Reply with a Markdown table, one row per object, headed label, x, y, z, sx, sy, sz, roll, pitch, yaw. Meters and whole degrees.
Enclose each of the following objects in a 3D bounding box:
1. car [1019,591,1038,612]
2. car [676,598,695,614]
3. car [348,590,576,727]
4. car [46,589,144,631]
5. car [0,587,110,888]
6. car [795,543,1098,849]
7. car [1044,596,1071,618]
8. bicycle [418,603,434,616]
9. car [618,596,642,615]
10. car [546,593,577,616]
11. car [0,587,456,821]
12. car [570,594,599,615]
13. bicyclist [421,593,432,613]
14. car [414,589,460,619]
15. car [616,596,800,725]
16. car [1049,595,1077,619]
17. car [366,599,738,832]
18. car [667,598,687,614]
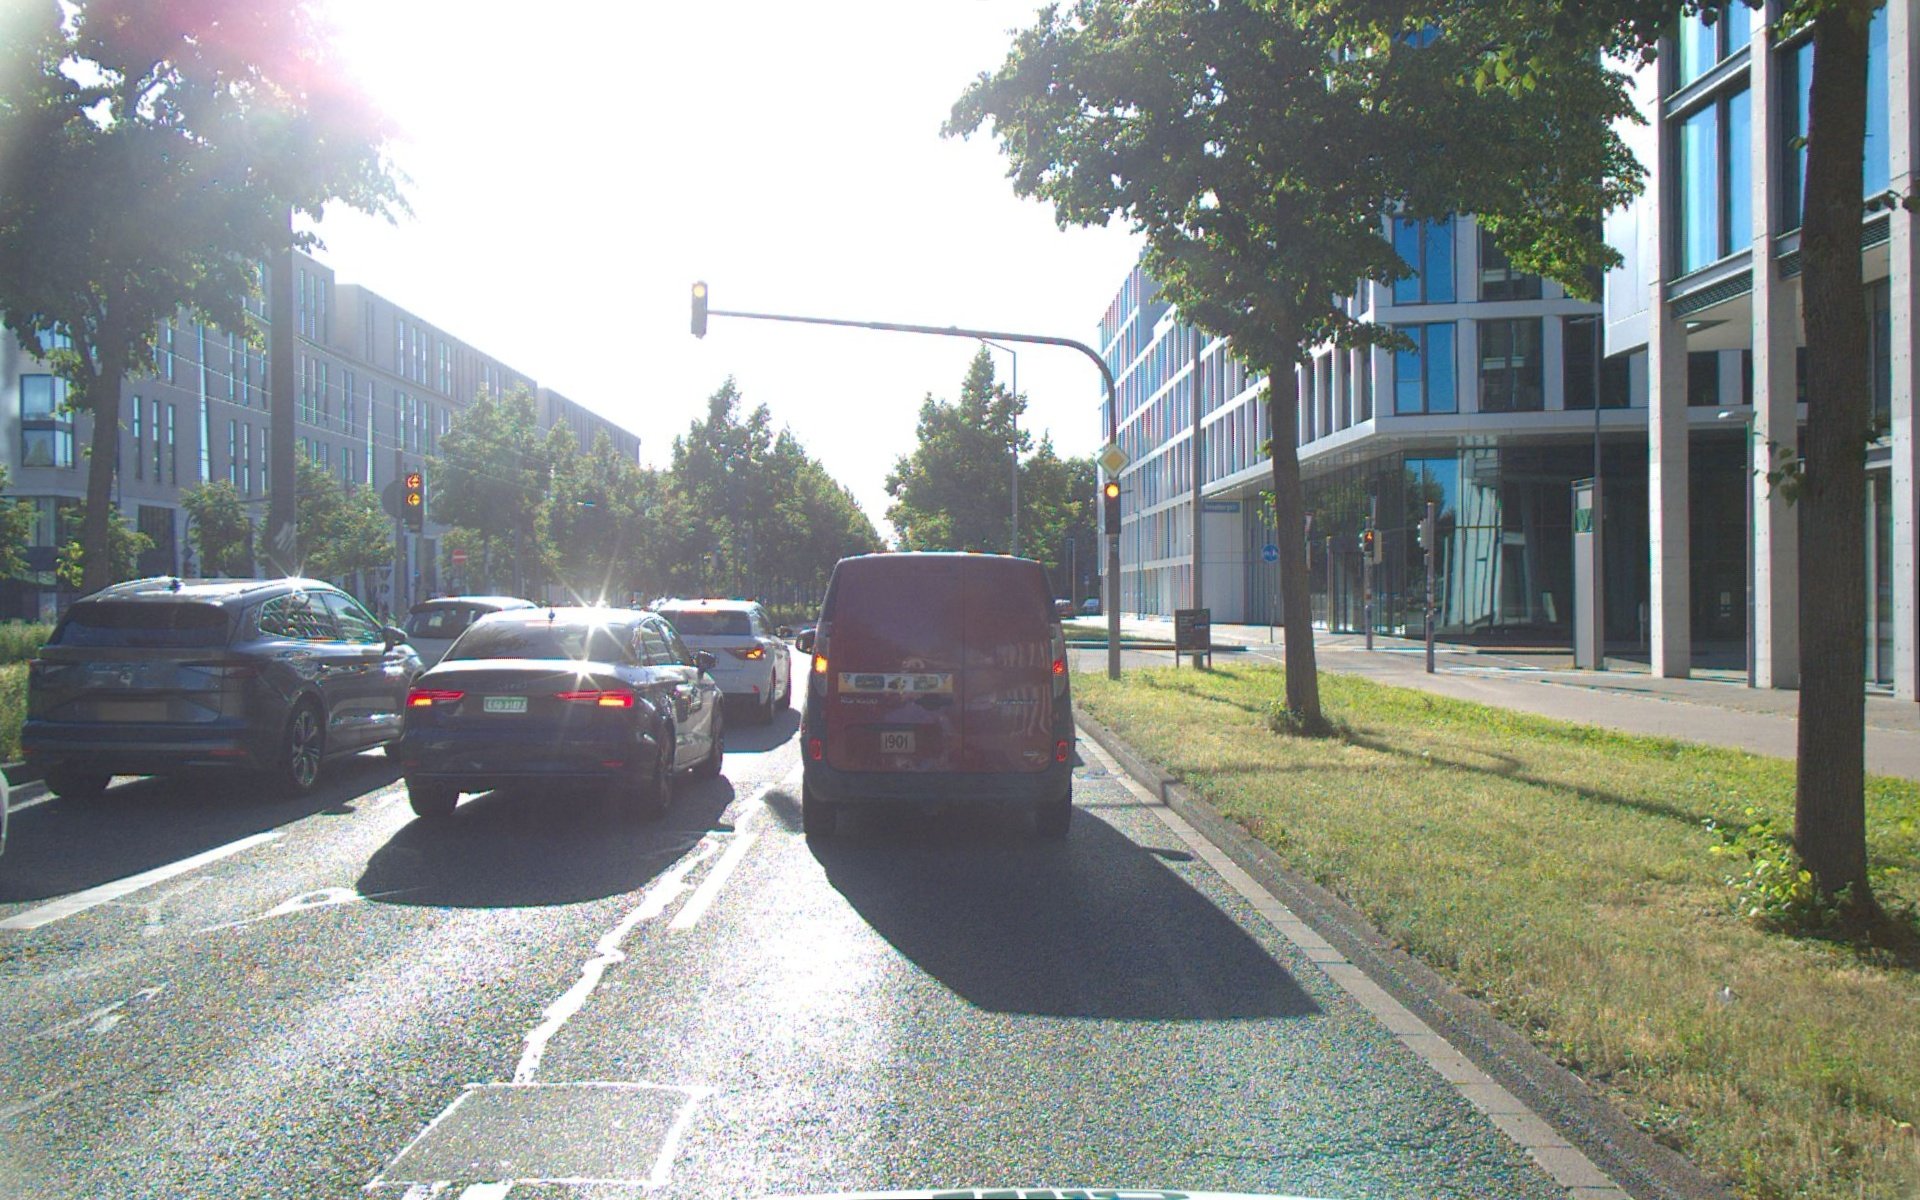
| label | x | y | z | sx | sy | sz | roll | pitch | yaw |
| --- | --- | --- | --- | --- | --- | --- | --- | --- | --- |
| car | 8.360 | 0.131 | 201.642 | 1.953 | 2.541 | 4.985 | 0 | 0 | -1 |
| car | -37.403 | 0.809 | 225.441 | 1.953 | 2.049 | 3.999 | 0 | 0 | -1 |
| car | -6.341 | 0.678 | 21.586 | 1.764 | 1.509 | 4.565 | 3 | 0 | -4 |
| car | -33.311 | 0.354 | 63.799 | 1.729 | 1.546 | 3.999 | 0 | 0 | -1 |
| car | -5.554 | 0.679 | 6.869 | 1.762 | 1.473 | 4.567 | 0 | 0 | -1 |
| car | -0.110 | 0.566 | 11.827 | 1.804 | 1.812 | 3.999 | 0 | 0 | -1 |
| car | 8.037 | 0.567 | 136.217 | 1.953 | 1.813 | 3.999 | 0 | 0 | -1 |
| bicycle | -41.325 | 0.725 | 127.960 | 0.663 | 1.005 | 1.955 | 0 | 0 | -1 |
| car | -36.925 | 0.575 | 184.994 | 1.953 | 2.049 | 3.999 | 0 | 0 | -1 |
| car | -36.548 | 0.383 | 151.916 | 1.953 | 2.049 | 3.999 | 0 | 0 | -1 |
| car | -5.689 | 0.686 | 13.494 | 1.762 | 1.472 | 4.568 | -1 | 1 | -1 |
| car | -36.572 | 0.439 | 161.015 | 1.953 | 2.049 | 3.999 | 0 | 0 | -1 |
| bicyclist | -41.318 | 0.232 | 128.055 | 0.663 | 1.556 | 0.714 | 0 | 0 | -1 |
| car | -35.434 | 0.261 | 112.156 | 1.953 | 2.049 | 3.999 | 0 | 0 | -1 |
| car | -3.044 | 0.681 | 20.685 | 1.767 | 1.451 | 3.900 | 0 | 0 | -1 |
| car | 8.163 | 0.540 | 131.291 | 1.953 | 1.813 | 3.999 | 0 | 0 | -1 |
| car | -2.838 | 0.717 | 12.516 | 1.804 | 1.451 | 4.338 | 0 | 0 | -1 |
| car | -37.587 | 0.768 | 219.814 | 1.953 | 2.049 | 3.999 | 0 | 0 | -1 |
